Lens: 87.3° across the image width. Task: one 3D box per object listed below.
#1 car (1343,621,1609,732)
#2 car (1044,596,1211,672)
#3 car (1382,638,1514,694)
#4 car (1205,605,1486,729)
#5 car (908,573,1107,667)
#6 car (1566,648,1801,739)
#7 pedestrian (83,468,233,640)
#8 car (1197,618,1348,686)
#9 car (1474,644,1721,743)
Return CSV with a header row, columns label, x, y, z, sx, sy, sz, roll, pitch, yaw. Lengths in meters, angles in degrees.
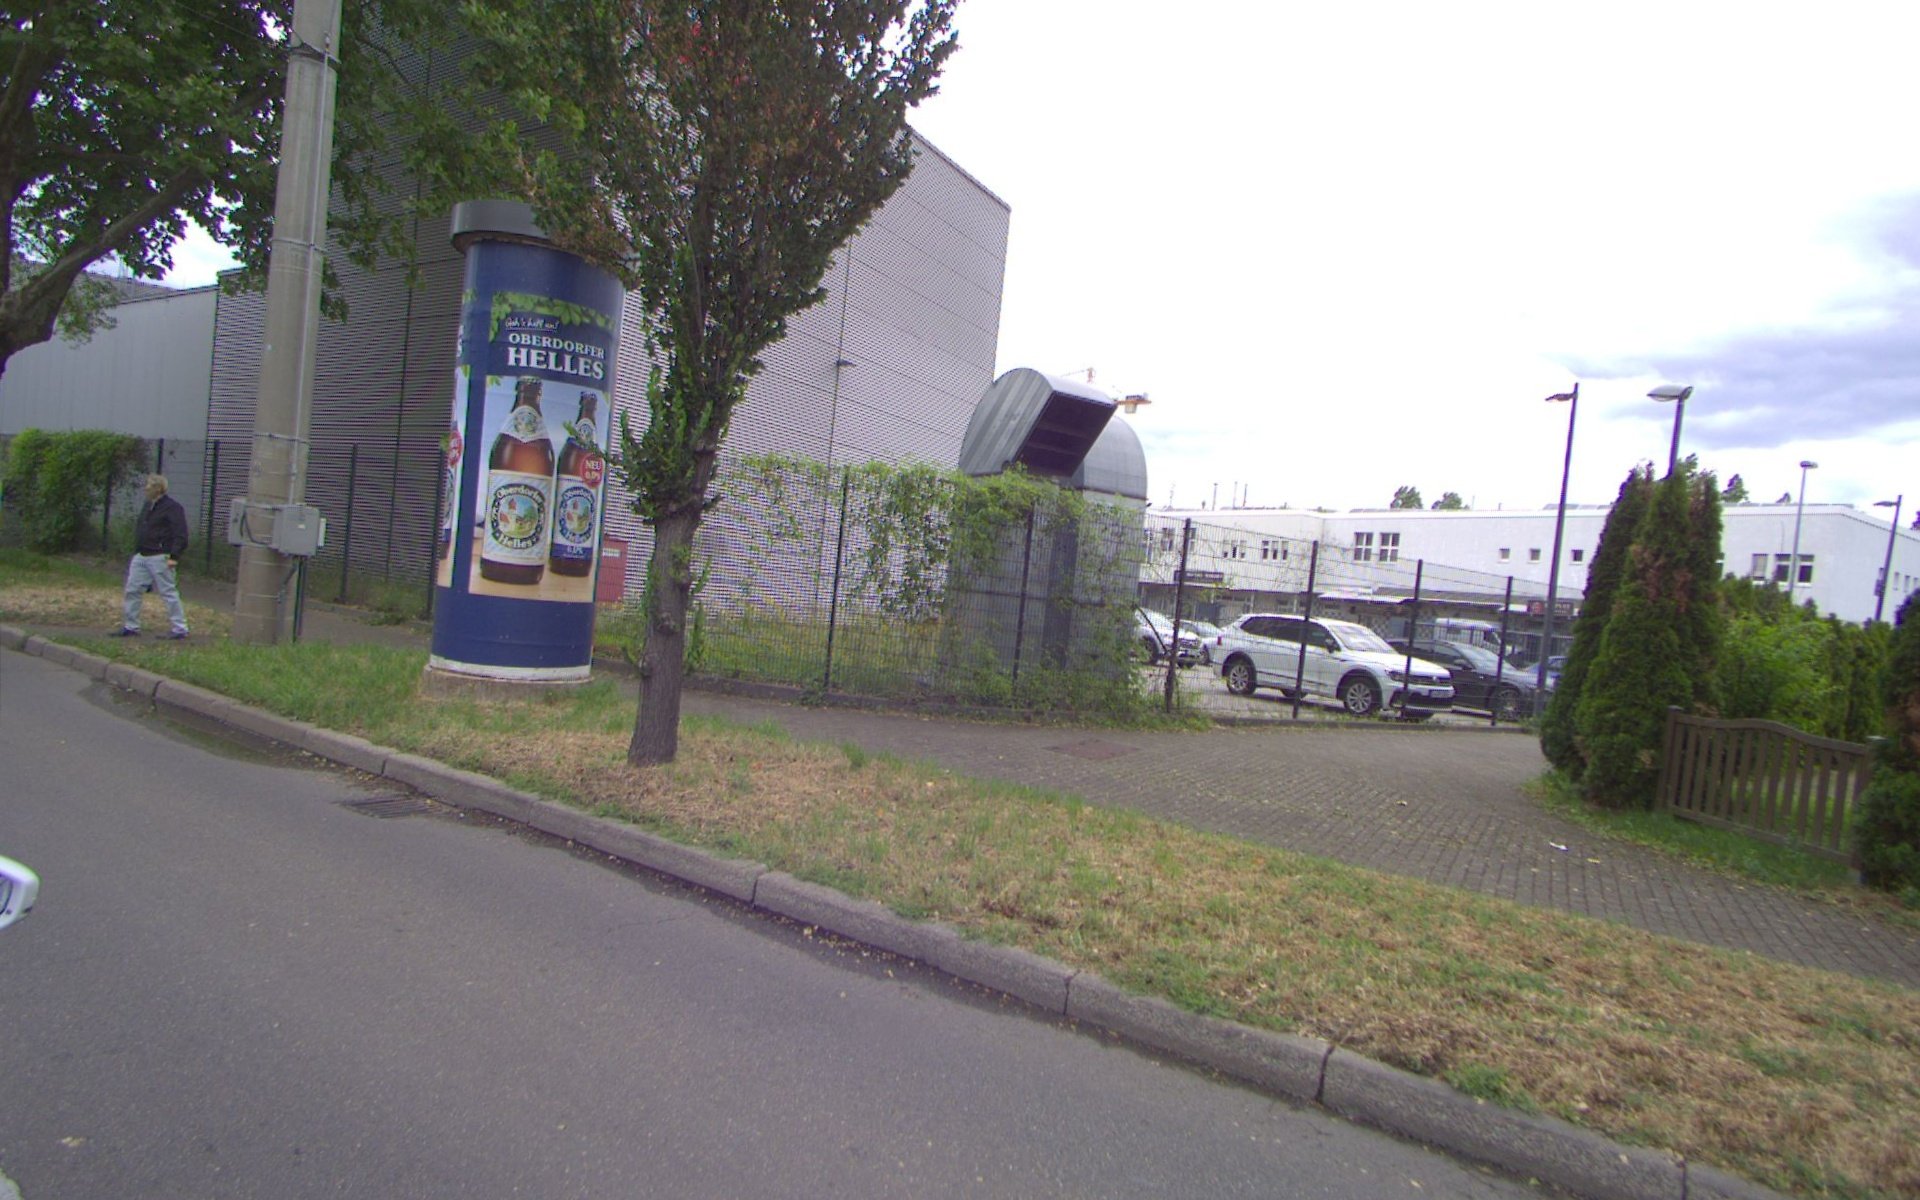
label,x,y,z,sx,sy,sz,roll,pitch,yaw
car,10.615,1.525,21.051,1.979,1.686,4.464,6,1,-31
car,4.851,0.958,29.581,4.418,1.687,1.999,6,1,-1
car,19.432,2.591,40.210,1.982,1.668,4.233,8,-2,-34
car,6.950,1.161,18.646,1.979,1.686,4.464,6,1,-31
car,1.123,0.466,24.223,4.197,1.668,1.999,6,-2,29
car,18.753,2.376,26.310,1.979,1.686,4.464,6,1,-31
pedestrian,-8.915,-0.499,11.231,0.798,1.784,1.119,2,2,-4
car,10.031,1.647,32.582,1.982,1.668,4.233,8,-2,-34
car,15.084,2.166,24.088,1.979,1.686,4.464,6,1,-31
